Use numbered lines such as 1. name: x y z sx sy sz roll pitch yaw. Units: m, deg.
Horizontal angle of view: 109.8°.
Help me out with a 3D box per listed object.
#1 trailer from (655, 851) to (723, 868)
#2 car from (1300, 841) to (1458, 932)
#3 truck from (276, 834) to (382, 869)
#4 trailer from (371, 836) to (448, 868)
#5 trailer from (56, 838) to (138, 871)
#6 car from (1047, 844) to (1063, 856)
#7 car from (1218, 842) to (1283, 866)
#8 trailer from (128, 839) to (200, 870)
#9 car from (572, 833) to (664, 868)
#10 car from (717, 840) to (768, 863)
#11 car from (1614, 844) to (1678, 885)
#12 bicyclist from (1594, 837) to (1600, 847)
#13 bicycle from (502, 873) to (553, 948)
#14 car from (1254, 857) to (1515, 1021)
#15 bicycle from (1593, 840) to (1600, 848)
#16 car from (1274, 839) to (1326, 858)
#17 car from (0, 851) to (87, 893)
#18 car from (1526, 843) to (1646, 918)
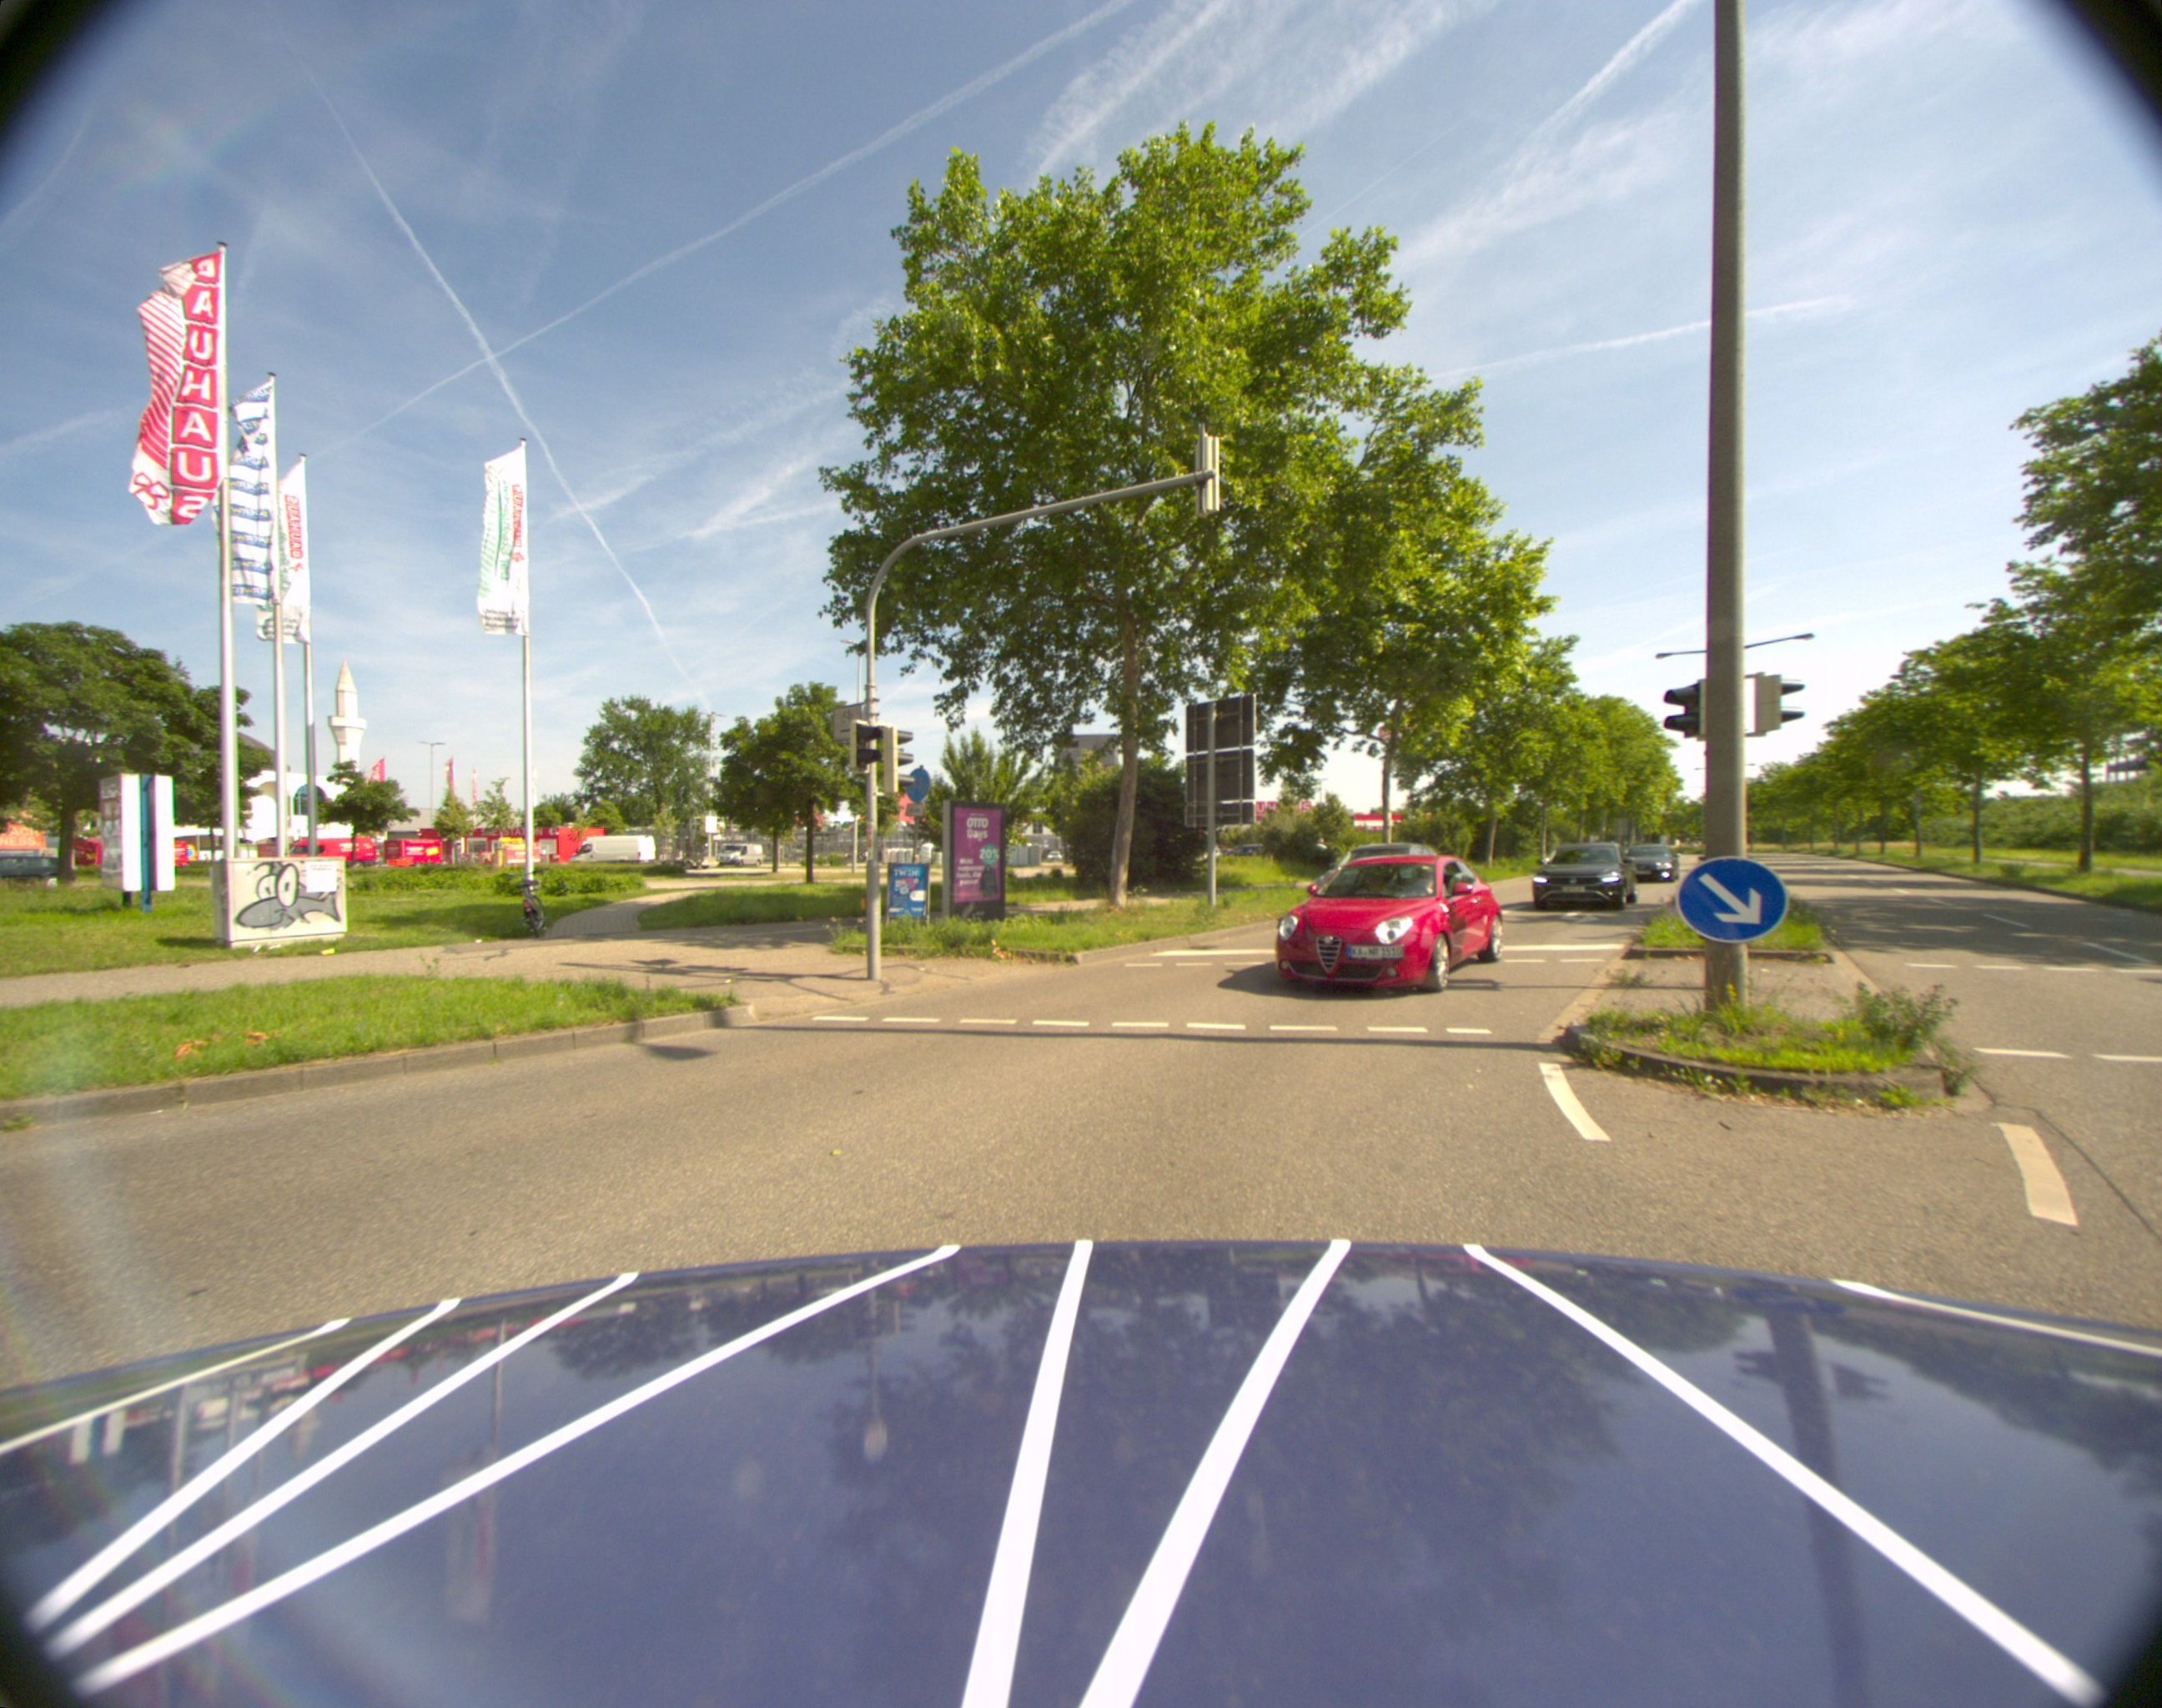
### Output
1. trailer: -29.465 0.397 57.214 4.026 1.116 2.069 0 3 7
2. car: 6.551 0.595 16.385 1.767 1.649 4.505 -2 0 40
3. truck: -58.088 -0.212 58.907 2.017 2.594 6.031 -1 1 3
4. trailer: -52.235 -0.155 59.224 1.749 2.363 4.414 0 1 9
5. trailer: -71.438 0.038 55.192 4.405 2.363 1.592 0 1 7
6. car: -3.543 -0.568 104.001 1.688 1.565 4.001 -1 1 5
7. car: 11.463 -0.034 51.453 3.851 1.576 1.853 0 2 34
8. trailer: -70.323 0.034 58.271 4.404 2.344 1.552 0 1 10
9. car: -35.067 -0.261 57.632 5.683 2.528 2.019 -1 3 3
10. car: -28.179 -0.214 63.486 1.873 1.805 4.831 1 0 3
11. car: 22.342 0.376 29.963 1.713 1.420 4.587 -2 0 40
12. bicyclist: 83.166 -1.949 122.481 0.685 1.622 1.004 1 2 41
13. bicycle: -9.525 0.928 13.127 0.504 1.102 1.787 -1 3 -30
14. car: 3.785 0.818 9.071 1.655 1.430 3.916 -2 0 41
15. bicycle: 83.150 -1.566 122.469 0.685 1.230 1.938 1 2 41
16. car: 18.391 -0.472 63.922 3.858 1.576 1.849 -1 1 2
17. car: -42.361 0.713 29.572 1.727 1.578 4.054 0 1 13
18. car: 12.157 0.538 18.171 1.870 1.536 4.089 0 1 41
